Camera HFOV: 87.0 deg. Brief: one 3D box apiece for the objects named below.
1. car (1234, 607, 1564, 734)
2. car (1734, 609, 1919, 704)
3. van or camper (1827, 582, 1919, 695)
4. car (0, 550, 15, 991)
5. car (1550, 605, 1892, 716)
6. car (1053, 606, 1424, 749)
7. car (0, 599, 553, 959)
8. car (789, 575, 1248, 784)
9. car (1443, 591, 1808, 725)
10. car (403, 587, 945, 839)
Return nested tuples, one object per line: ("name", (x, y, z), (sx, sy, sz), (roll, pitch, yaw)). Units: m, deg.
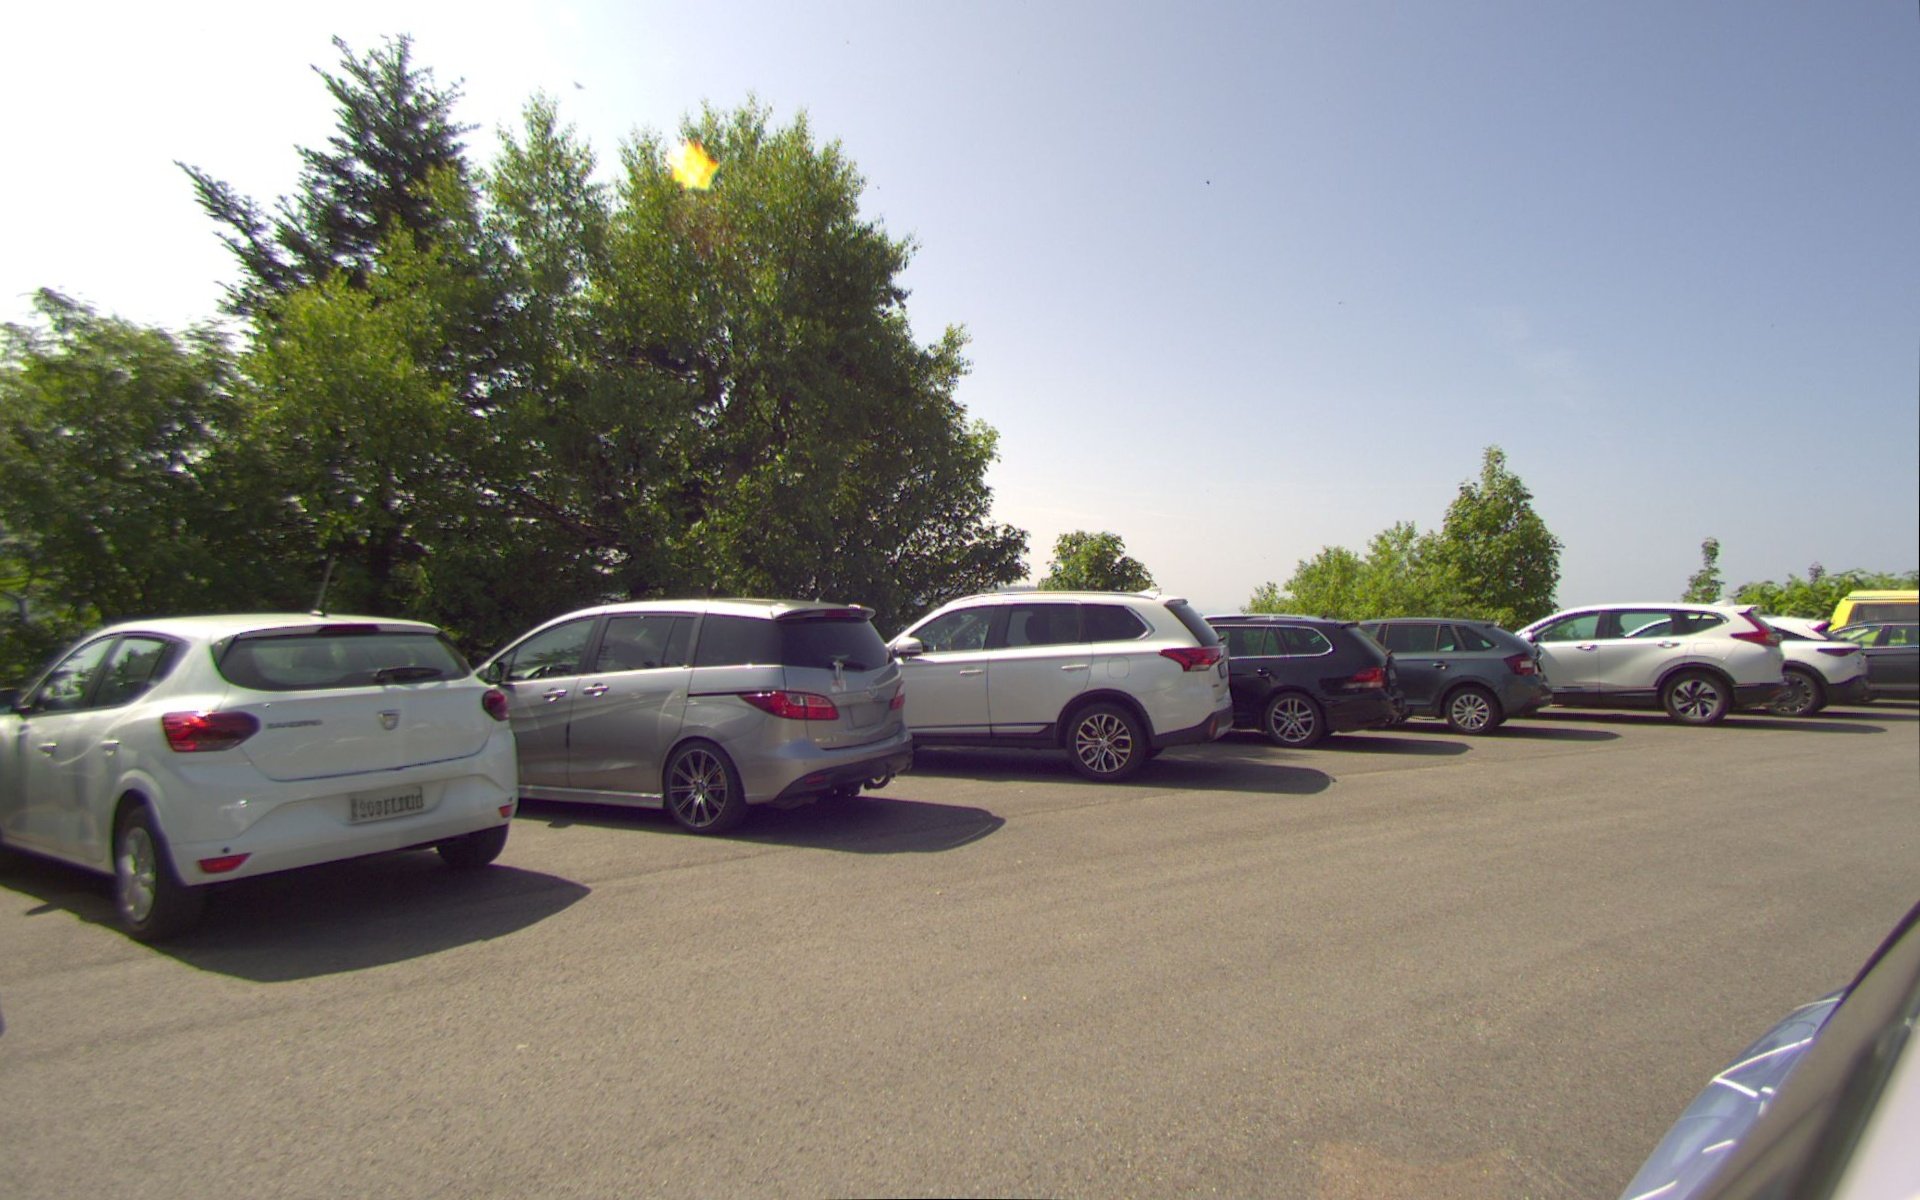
("car", (5.808, 0.888, 13.566), (3.782, 1.478, 1.641), (-2, -2, 36))
("car", (15.780, 0.926, 16.733), (1.776, 1.507, 4.368), (2, -3, -29))
("van or camper", (18.601, 0.670, 17.516), (1.843, 2.040, 5.112), (2, -3, -27))
("car", (-6.013, 0.713, 4.368), (4.243, 1.716, 1.966), (-2, -2, 35))
("car", (11.950, 0.851, 16.080), (1.911, 1.519, 4.089), (0, -1, -43))
("car", (3.361, 0.875, 12.357), (4.017, 1.480, 1.874), (-2, -2, 30))
("car", (-4.409, 0.800, 6.070), (3.971, 1.495, 1.746), (-2, -1, 34))
("car", (0.593, 0.696, 9.985), (4.175, 1.716, 1.850), (-1, -2, 21))
("car", (9.498, 0.792, 14.664), (4.163, 1.671, 1.865), (-2, -2, 39))
("car", (-2.286, 0.773, 8.015), (3.958, 1.569, 1.804), (-2, -2, 26))
